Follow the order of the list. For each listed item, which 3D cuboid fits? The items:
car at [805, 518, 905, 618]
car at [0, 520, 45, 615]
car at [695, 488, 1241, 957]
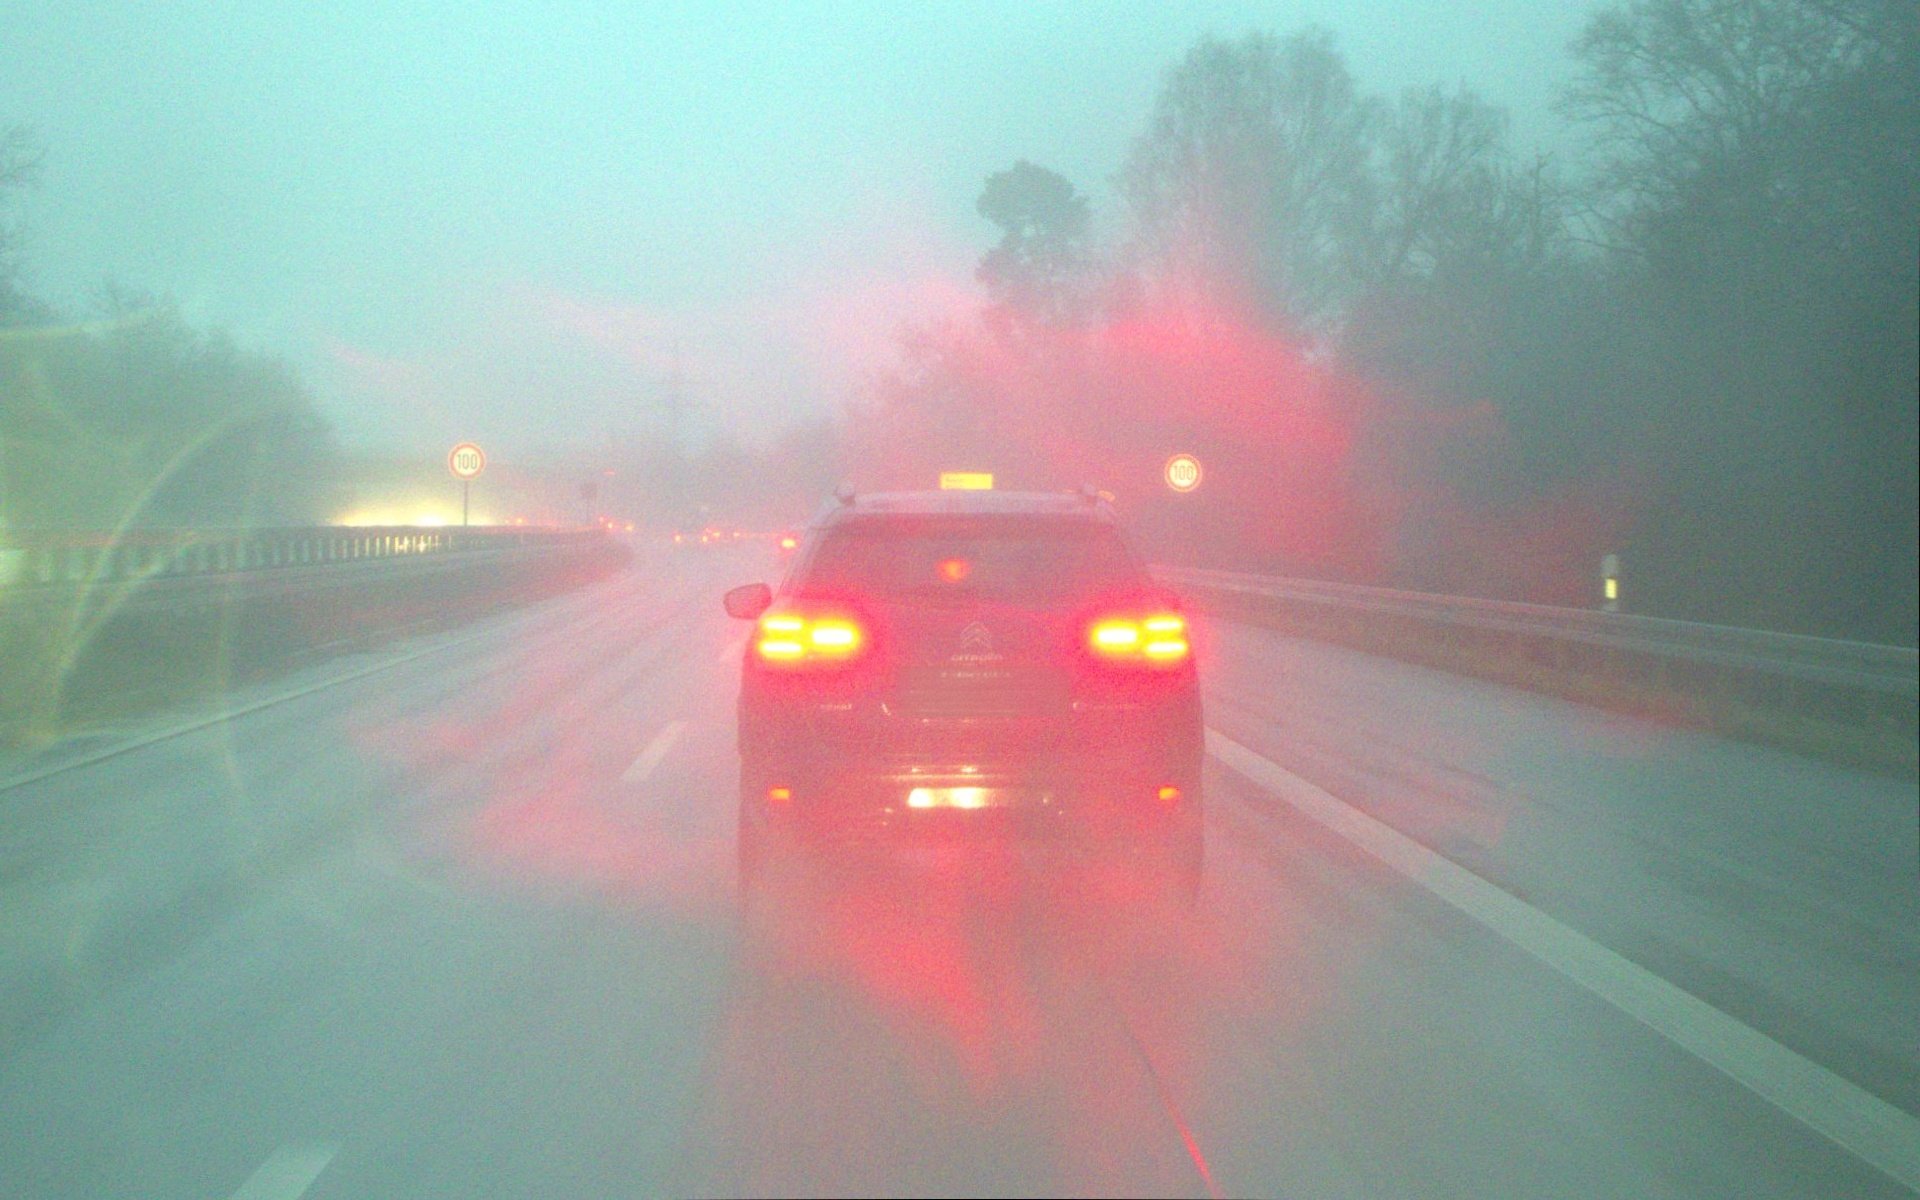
[{"bbox_3d":[-2.234,-0.685,72.141,1.993,2.007,4.001,1,1,-3],"label":"car"},{"bbox_3d":[-17.086,-0.563,58.180,1.993,1.584,4.959,0,1,-1],"label":"car"},{"bbox_3d":[-0.027,0.419,14.601,1.992,1.709,3.830,1,1,-2],"label":"car"}]
